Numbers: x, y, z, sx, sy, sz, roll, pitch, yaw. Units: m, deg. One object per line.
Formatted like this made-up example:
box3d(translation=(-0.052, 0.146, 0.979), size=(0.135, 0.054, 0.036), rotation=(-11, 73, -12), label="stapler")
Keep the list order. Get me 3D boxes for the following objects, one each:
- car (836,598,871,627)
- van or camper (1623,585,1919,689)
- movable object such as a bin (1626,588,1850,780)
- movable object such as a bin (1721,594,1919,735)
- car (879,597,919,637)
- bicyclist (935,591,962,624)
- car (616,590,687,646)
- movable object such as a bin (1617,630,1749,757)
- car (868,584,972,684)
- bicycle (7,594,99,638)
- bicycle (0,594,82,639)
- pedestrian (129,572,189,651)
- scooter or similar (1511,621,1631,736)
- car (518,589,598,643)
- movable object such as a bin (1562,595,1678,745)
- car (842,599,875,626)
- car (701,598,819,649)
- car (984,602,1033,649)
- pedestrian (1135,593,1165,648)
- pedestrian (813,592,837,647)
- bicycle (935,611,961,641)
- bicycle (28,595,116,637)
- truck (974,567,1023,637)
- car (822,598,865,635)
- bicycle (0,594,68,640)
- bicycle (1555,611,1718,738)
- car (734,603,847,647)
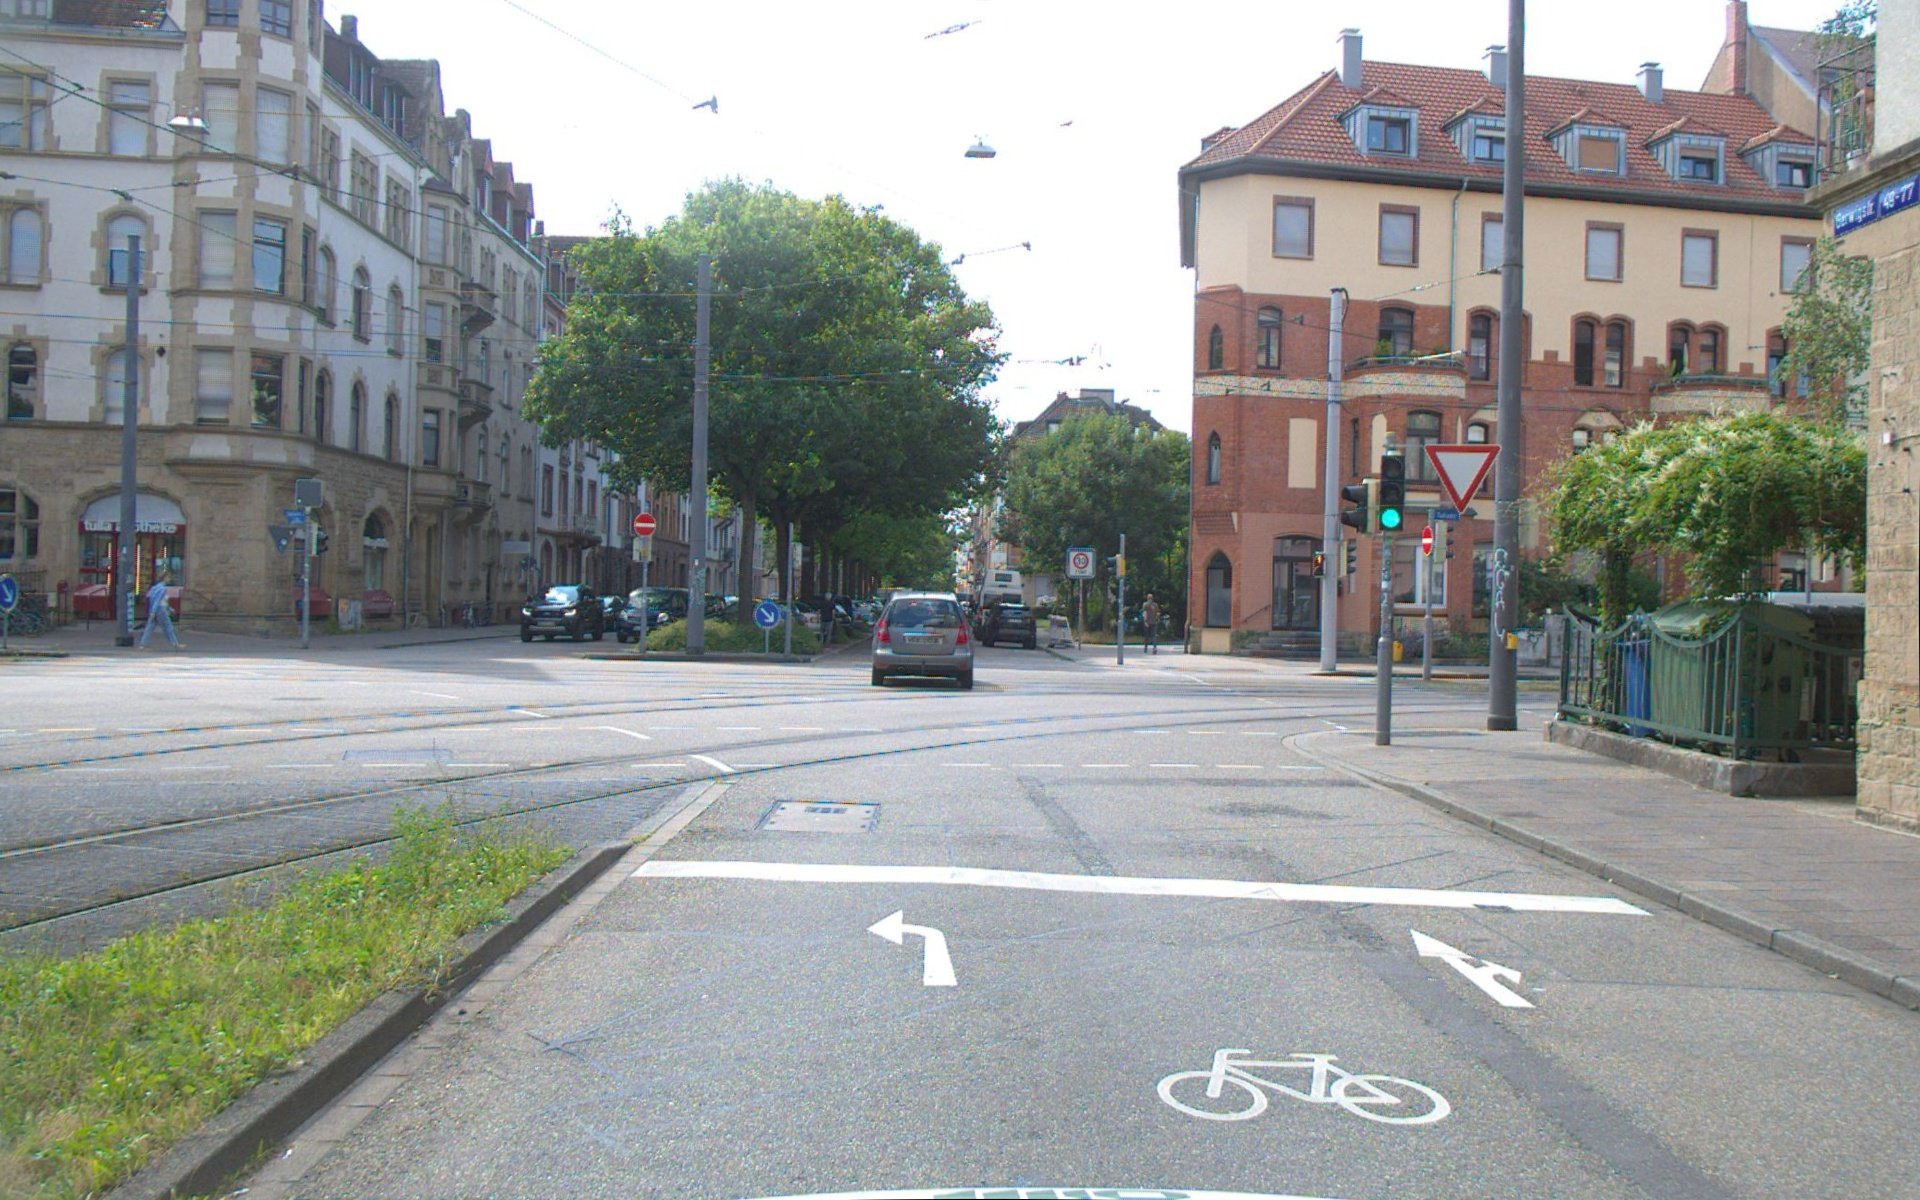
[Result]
box3d(translation=(-5.883, 0.705, 91.597), size=(1.716, 1.543, 3.499), rotation=(1, 0, 0), label="car")
box3d(translation=(19.489, 0.880, 39.667), size=(6.401, 2.293, 2.244), rotation=(1, 0, -8), label="van or camper")
box3d(translation=(6.815, 0.691, 14.641), size=(1.028, 1.566, 2.100), rotation=(0, 0, 1), label="movable object such as a bin")
box3d(translation=(9.308, 0.667, 17.486), size=(2.053, 1.438, 1.051), rotation=(0, 0, -8), label="movable object such as a bin")
box3d(translation=(-2.745, 0.760, 75.222), size=(1.687, 1.736, 3.677), rotation=(0, 0, 0), label="car")
box3d(translation=(-0.376, 0.252, 55.654), size=(0.819, 1.101, 1.400), rotation=(0, 0, 3), label="bicyclist")
box3d(translation=(-10.187, 0.589, 54.853), size=(1.955, 1.758, 3.995), rotation=(0, 0, -6), label="car")
box3d(translation=(7.034, 0.898, 16.131), size=(1.007, 1.195, 0.659), rotation=(0, 0, 1), label="movable object such as a bin")
box3d(translation=(-0.654, 0.563, 29.026), size=(1.687, 1.634, 3.677), rotation=(0, 0, 0), label="car")
box3d(translation=(-23.148, 0.415, 42.246), size=(1.882, 1.100, 0.776), rotation=(1, 0, -12), label="bicycle")
box3d(translation=(-22.983, 0.412, 41.111), size=(1.882, 1.100, 0.776), rotation=(1, 0, -12), label="bicycle")
box3d(translation=(-18.094, 0.268, 37.365), size=(0.763, 1.752, 1.016), rotation=(1, -1, 45), label="pedestrian")
box3d(translation=(6.761, 0.863, 18.324), size=(1.171, 1.238, 0.462), rotation=(1, -1, -8), label="scooter or similar")
box3d(translation=(-12.851, 0.513, 53.128), size=(1.955, 1.646, 3.995), rotation=(0, 0, -6), label="car")
box3d(translation=(6.784, 0.703, 17.039), size=(0.701, 1.497, 0.980), rotation=(1, 0, -9), label="movable object such as a bin")
box3d(translation=(-6.027, 0.729, 98.484), size=(1.716, 1.543, 3.499), rotation=(1, 0, 0), label="car")
box3d(translation=(-6.510, 0.752, 53.564), size=(1.956, 1.521, 3.943), rotation=(1, 0, -40), label="car")
box3d(translation=(1.827, 0.935, 61.569), size=(1.715, 1.661, 3.500), rotation=(1, 0, 3), label="car")
box3d(translation=(5.913, 0.630, 51.530), size=(0.851, 1.685, 0.736), rotation=(1, 0, 4), label="pedestrian")
box3d(translation=(-4.306, 0.624, 52.808), size=(0.638, 1.755, 0.495), rotation=(1, 0, 3), label="pedestrian")
box3d(translation=(-0.403, 0.847, 55.516), size=(0.733, 0.975, 2.299), rotation=(0, 0, 3), label="bicycle")
box3d(translation=(-23.330, 0.419, 43.485), size=(1.882, 1.100, 0.776), rotation=(1, 0, -12), label="bicycle")
box3d(translation=(1.778, 0.091, 74.530), size=(2.078, 3.022, 4.001), rotation=(0, 0, 3), label="truck")
box3d(translation=(-5.471, 0.782, 78.024), size=(1.716, 1.661, 3.499), rotation=(1, 0, 0), label="car")
box3d(translation=(-22.677, 0.410, 39.869), size=(1.882, 1.100, 0.776), rotation=(1, 0, -12), label="bicycle")
box3d(translation=(7.359, 0.807, 17.984), size=(1.795, 1.352, 0.276), rotation=(1, -1, -11), label="bicycle")
box3d(translation=(-5.785, 0.845, 56.192), size=(1.956, 1.362, 3.943), rotation=(1, 0, -40), label="car")
